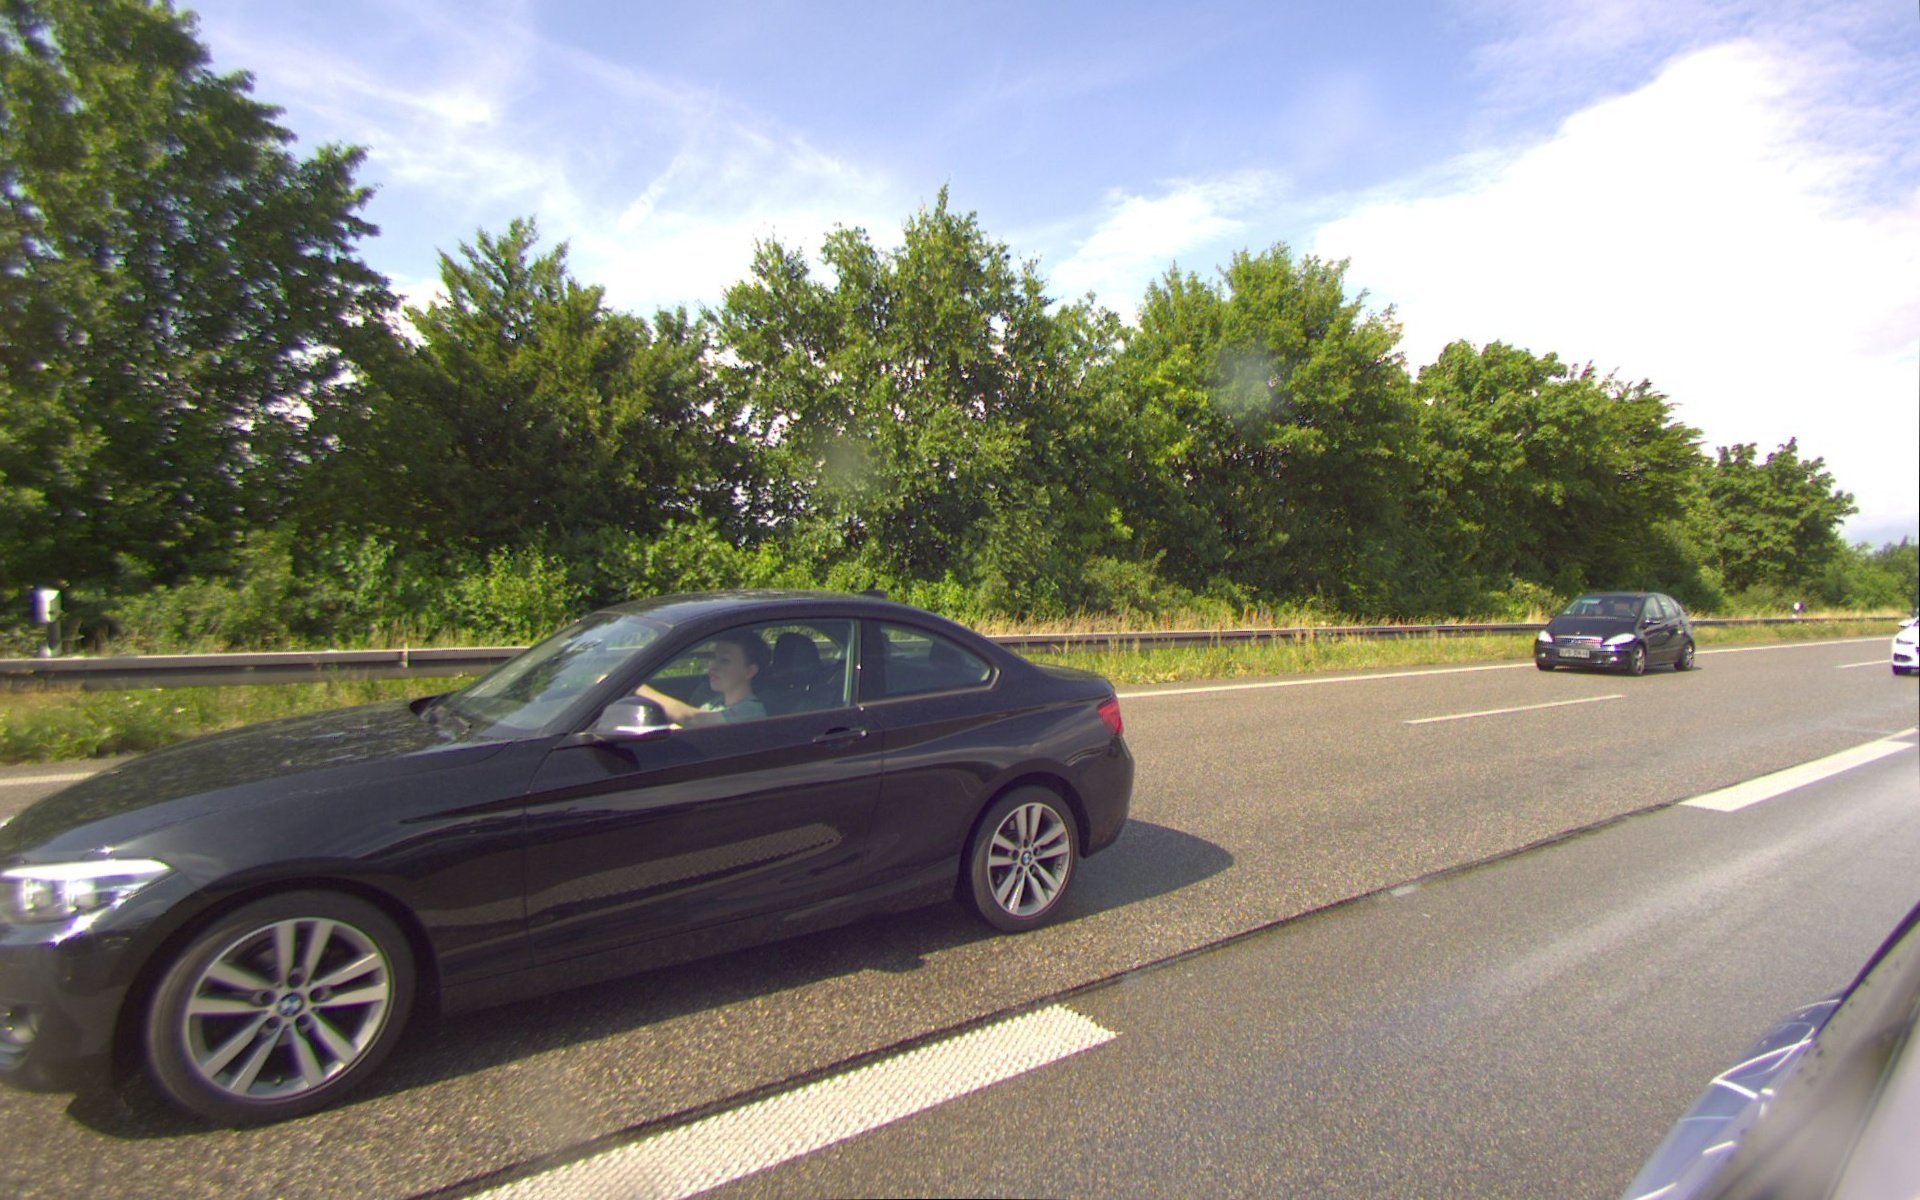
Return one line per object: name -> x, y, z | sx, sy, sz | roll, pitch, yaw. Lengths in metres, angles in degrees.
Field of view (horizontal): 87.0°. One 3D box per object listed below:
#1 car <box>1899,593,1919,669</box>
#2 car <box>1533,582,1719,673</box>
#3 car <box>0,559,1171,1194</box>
car -> 20.499, 0.587, 20.167 | 4.426, 1.443, 1.832 | 0, 0, -36
car -> 13.152, 0.453, 19.919 | 3.926, 1.588, 1.854 | 0, 2, -37
car -> -1.234, 0.605, 4.260 | 4.176, 1.482, 1.854 | 0, 2, -37
